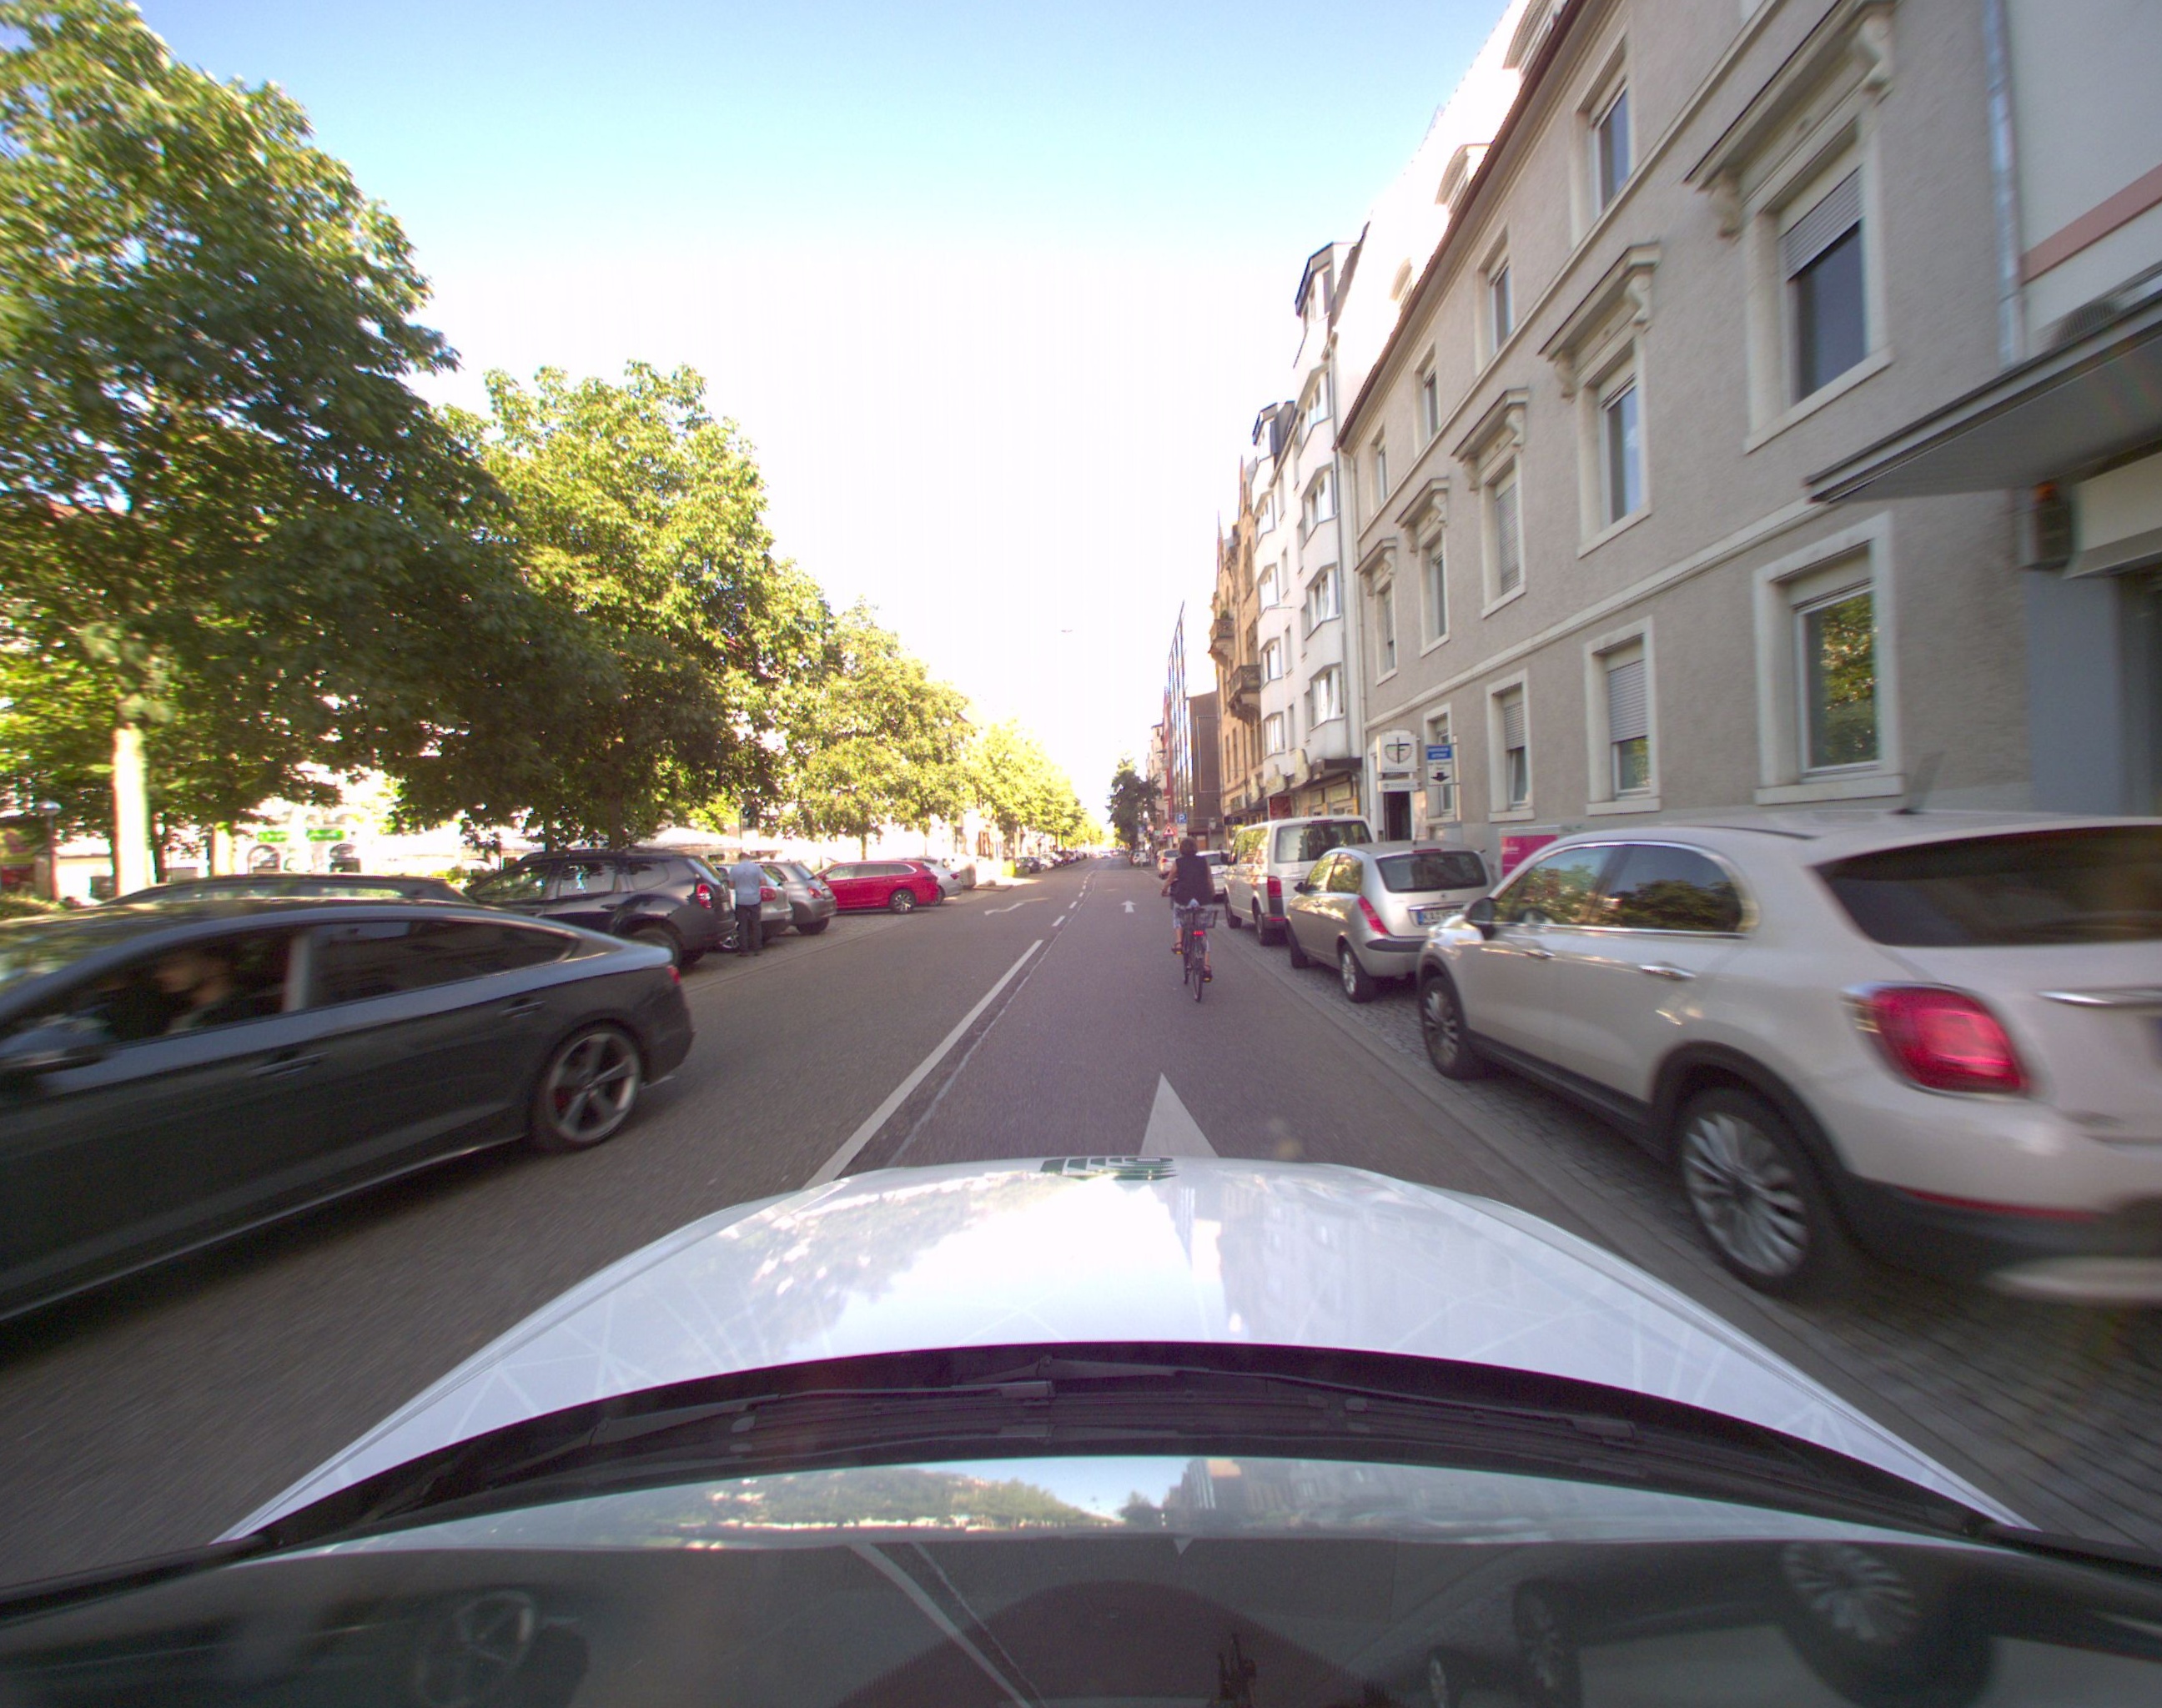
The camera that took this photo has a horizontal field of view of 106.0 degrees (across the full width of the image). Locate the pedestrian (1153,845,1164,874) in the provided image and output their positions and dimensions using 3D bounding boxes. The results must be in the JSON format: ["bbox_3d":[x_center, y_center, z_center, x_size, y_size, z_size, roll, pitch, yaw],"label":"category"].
[{"bbox_3d":[4.675,0.314,49.365,0.611,1.735,0.634,-1,-1,3],"label":"pedestrian"}]

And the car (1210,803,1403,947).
[{"bbox_3d":[3.650,0.291,14.264,1.986,2.004,5.118,-2,0,1],"label":"car"}]

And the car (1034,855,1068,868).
[{"bbox_3d":[-3.686,0.885,99.758,3.971,1.508,2.001,-1,-1,2],"label":"car"}]

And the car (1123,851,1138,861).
[{"bbox_3d":[7.163,0.252,118.593,1.986,1.453,4.002,-1,0,2],"label":"car"}]

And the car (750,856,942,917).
[{"bbox_3d":[-6.365,0.833,22.178,4.853,1.488,1.752,0,-1,-22],"label":"car"}]

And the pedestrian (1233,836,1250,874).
[{"bbox_3d":[7.849,0.065,39.810,0.605,1.788,0.683,-3,-1,1],"label":"pedestrian"}]

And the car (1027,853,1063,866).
[{"bbox_3d":[-4.196,0.626,95.150,3.970,1.508,1.896,-1,-1,3],"label":"car"}]

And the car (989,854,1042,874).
[{"bbox_3d":[-5.310,0.804,66.367,3.970,1.508,2.002,-1,-1,3],"label":"car"}]

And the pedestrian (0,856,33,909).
[{"bbox_3d":[-30.160,0.805,22.925,0.559,1.465,0.667,0,-1,-26],"label":"pedestrian"}]

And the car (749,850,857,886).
[{"bbox_3d":[-14.821,0.735,43.494,5.288,1.800,2.146,0,-1,-25],"label":"car"}]

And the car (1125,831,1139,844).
[{"bbox_3d":[8.162,-2.644,130.810,1.986,2.013,4.002,-3,0,2],"label":"car"}]

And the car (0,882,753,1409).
[{"bbox_3d":[-3.755,0.882,3.371,1.897,1.417,4.829,-1,-1,15],"label":"car"}]

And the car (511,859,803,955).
[{"bbox_3d":[-6.974,0.836,13.796,3.984,1.448,1.798,-1,-1,-8],"label":"car"}]

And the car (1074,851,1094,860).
[{"bbox_3d":[0.666,0.365,181.664,3.960,2.014,2.007,-1,0,12],"label":"car"}]

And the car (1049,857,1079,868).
[{"bbox_3d":[-2.361,1.236,114.612,3.967,1.508,2.003,0,-1,5],"label":"car"}]

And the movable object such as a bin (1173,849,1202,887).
[{"bbox_3d":[4.495,0.579,34.478,1.067,1.457,1.495,-5,1,7],"label":"movable object such as a bin"}]

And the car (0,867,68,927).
[{"bbox_3d":[-43.729,1.688,31.495,5.356,2.314,1.986,0,-1,-21],"label":"car"}]

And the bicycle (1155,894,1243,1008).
[{"bbox_3d":[1.218,0.971,8.924,0.650,0.958,2.699,-1,-1,2],"label":"bicycle"}]

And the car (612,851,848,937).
[{"bbox_3d":[-6.948,0.771,16.438,3.975,1.598,1.749,-1,-1,-1],"label":"car"}]

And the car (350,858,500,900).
[{"bbox_3d":[-33.088,1.229,41.302,5.602,2.014,1.803,0,-1,-25],"label":"car"}]

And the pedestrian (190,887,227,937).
[{"bbox_3d":[-27.505,1.811,25.664,0.665,1.547,0.561,-1,-1,19],"label":"pedestrian"}]

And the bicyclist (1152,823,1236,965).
[{"bbox_3d":[1.219,0.422,8.988,0.783,1.453,1.096,-1,-1,1],"label":"bicyclist"}]

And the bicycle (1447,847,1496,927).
[{"bbox_3d":[6.272,0.506,13.137,0.479,1.186,1.728,-5,-2,21],"label":"bicycle"}]

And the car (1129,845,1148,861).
[{"bbox_3d":[6.095,-0.034,86.175,1.984,1.618,4.015,0,-1,5],"label":"car"}]

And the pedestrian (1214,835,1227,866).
[{"bbox_3d":[8.775,-0.214,51.125,0.640,1.871,0.630,-1,-1,25],"label":"pedestrian"}]

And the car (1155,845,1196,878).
[{"bbox_3d":[5.178,0.422,45.124,1.891,1.675,4.827,-1,-1,2],"label":"car"}]

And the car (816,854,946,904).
[{"bbox_3d":[-6.788,0.813,27.719,4.008,1.586,1.815,0,-1,-27],"label":"car"}]

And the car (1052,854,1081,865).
[{"bbox_3d":[-2.085,0.778,117.287,3.967,1.508,2.003,0,-1,5],"label":"car"}]

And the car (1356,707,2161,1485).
[{"bbox_3d":[3.082,0.565,4.298,1.738,1.739,4.963,-1,-1,2],"label":"car"}]

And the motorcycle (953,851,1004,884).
[{"bbox_3d":[-5.405,0.710,42.949,2.451,1.604,1.005,-3,0,20],"label":"motorcycle"}]

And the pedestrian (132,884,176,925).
[{"bbox_3d":[-28.839,1.572,25.346,0.670,1.236,0.557,-1,-1,-6],"label":"pedestrian"}]

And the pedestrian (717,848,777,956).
[{"bbox_3d":[-5.249,0.742,12.830,0.698,1.649,0.645,-1,-1,-5],"label":"pedestrian"}]

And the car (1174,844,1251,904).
[{"bbox_3d":[3.782,0.582,23.983,1.712,1.515,3.584,-4,-1,2],"label":"car"}]

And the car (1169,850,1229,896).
[{"bbox_3d":[3.971,0.636,27.883,1.671,1.448,3.788,-1,-1,3],"label":"car"}]

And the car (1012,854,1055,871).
[{"bbox_3d":[-4.635,0.825,79.334,3.970,1.508,2.002,-1,-1,3],"label":"car"}]

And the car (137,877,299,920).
[{"bbox_3d":[-40.470,2.049,38.362,4.872,1.804,1.896,0,-1,-20],"label":"car"}]

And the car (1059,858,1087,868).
[{"bbox_3d":[-1.229,1.389,125.221,3.967,1.508,2.003,0,-1,5],"label":"car"}]

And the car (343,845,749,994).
[{"bbox_3d":[-6.685,0.736,10.722,3.992,1.668,1.991,0,0,-14],"label":"car"}]

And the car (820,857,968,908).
[{"bbox_3d":[-5.795,0.852,25.306,4.243,1.477,1.721,0,-1,-26],"label":"car"}]

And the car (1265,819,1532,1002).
[{"bbox_3d":[3.299,0.543,9.264,1.692,1.604,3.759,-2,-1,3],"label":"car"}]

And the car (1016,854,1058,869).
[{"bbox_3d":[-4.372,0.750,81.416,3.970,1.508,2.002,-1,-1,3],"label":"car"}]

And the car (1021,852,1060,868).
[{"bbox_3d":[-4.374,0.697,88.942,3.970,1.674,2.090,-1,-1,3],"label":"car"}]

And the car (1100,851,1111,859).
[{"bbox_3d":[4.940,0.207,164.858,1.985,1.556,4.003,-1,-1,3],"label":"car"}]

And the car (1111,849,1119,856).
[{"bbox_3d":[8.794,-0.364,209.959,1.862,1.556,4.003,-1,-1,3],"label":"car"}]

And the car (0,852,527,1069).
[{"bbox_3d":[-7.113,0.742,6.828,4.014,1.470,1.856,0,-1,-33],"label":"car"}]
